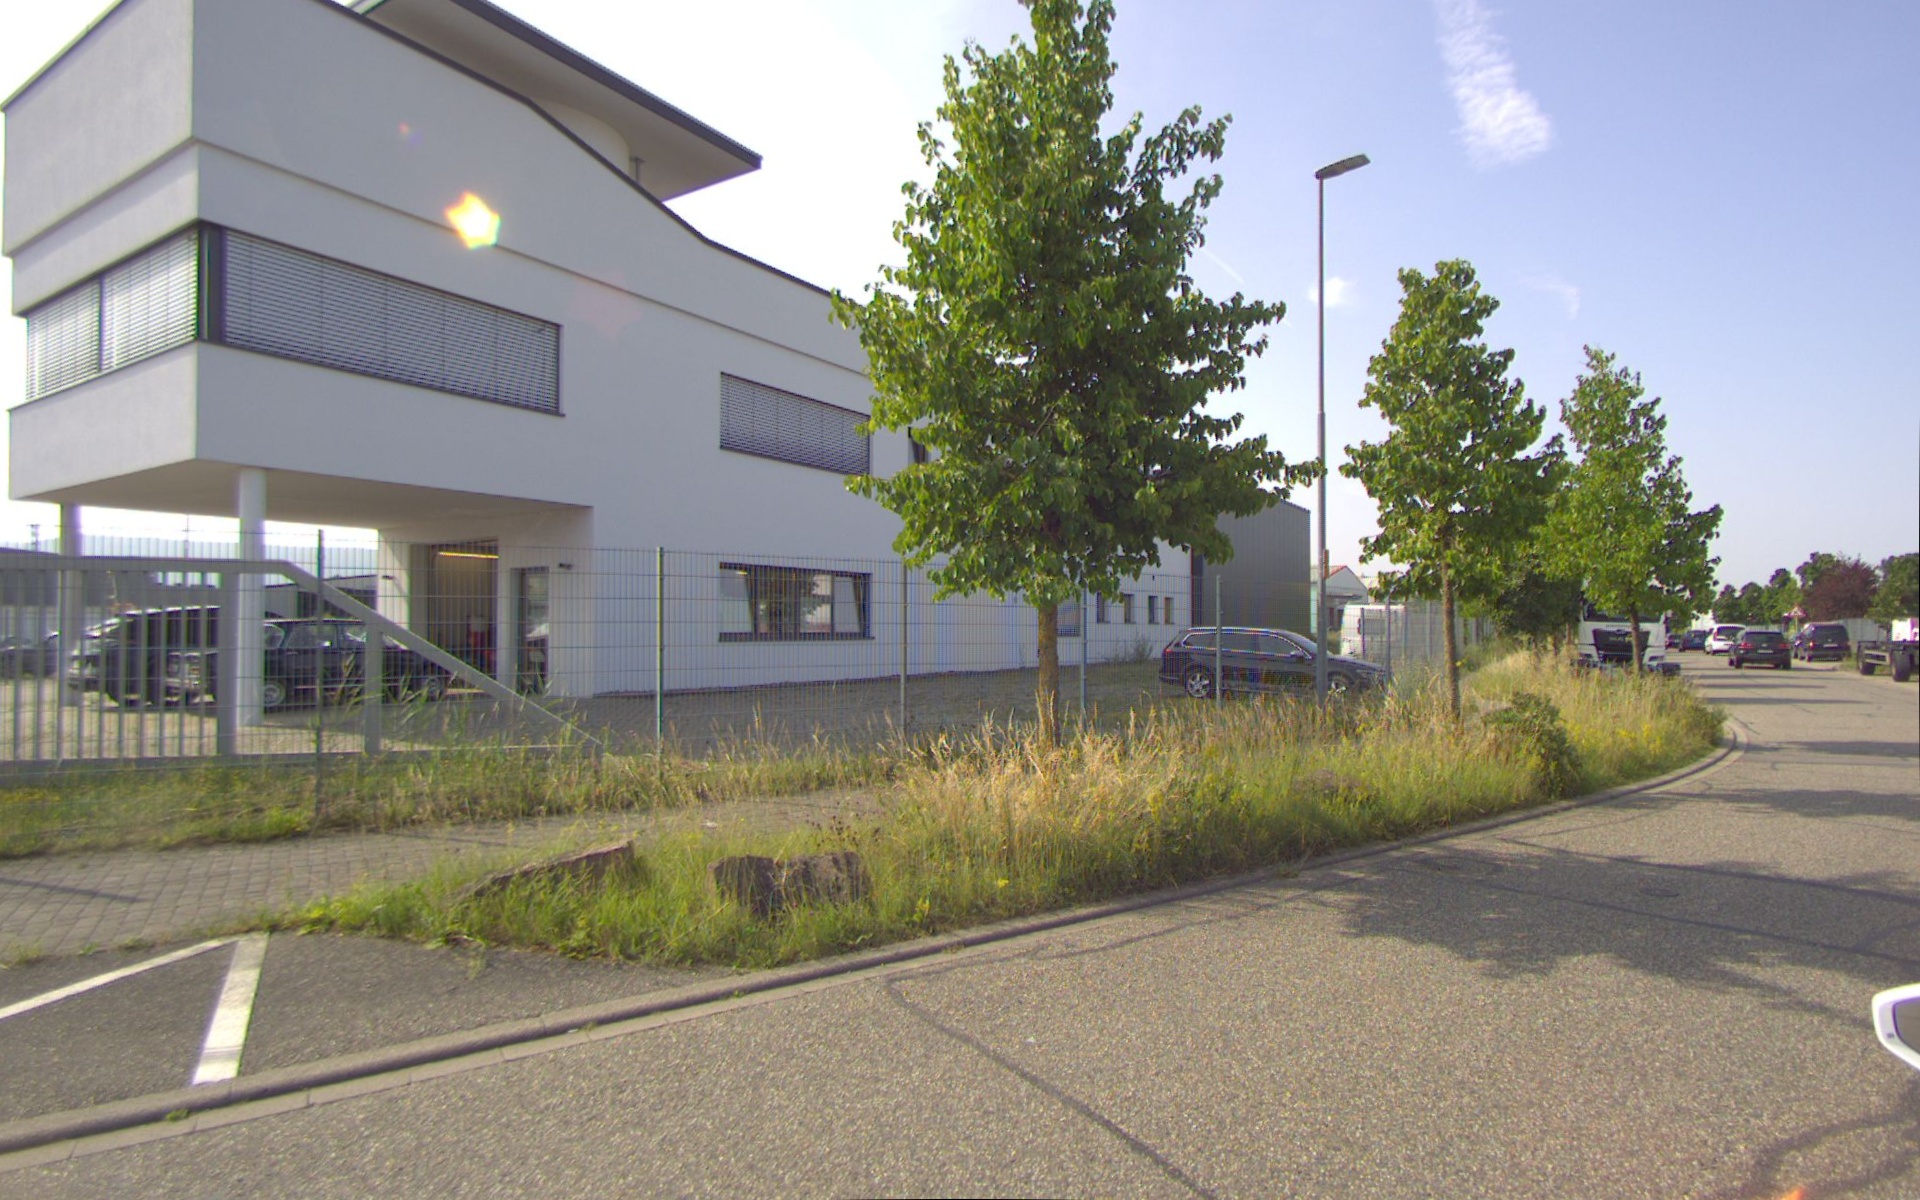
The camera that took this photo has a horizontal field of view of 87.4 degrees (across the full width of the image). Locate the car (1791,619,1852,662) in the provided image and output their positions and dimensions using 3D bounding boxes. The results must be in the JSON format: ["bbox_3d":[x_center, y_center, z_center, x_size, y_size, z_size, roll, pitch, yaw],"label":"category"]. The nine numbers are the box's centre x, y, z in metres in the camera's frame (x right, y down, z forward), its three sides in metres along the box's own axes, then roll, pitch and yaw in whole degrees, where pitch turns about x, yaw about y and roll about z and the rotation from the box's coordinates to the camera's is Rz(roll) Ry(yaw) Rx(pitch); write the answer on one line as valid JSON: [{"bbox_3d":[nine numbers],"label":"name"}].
[{"bbox_3d":[43.478,2.021,50.765,1.795,2.004,3.988,-5,-3,34],"label":"car"}]

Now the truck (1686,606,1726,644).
[{"bbox_3d":[76.546,2.581,103.220,2.849,3.633,8.037,-3,-2,34],"label":"truck"}]

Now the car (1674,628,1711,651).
[{"bbox_3d":[54.866,2.962,75.271,1.966,1.661,3.990,-1,-2,32],"label":"car"}]

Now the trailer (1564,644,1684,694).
[{"bbox_3d":[18.219,1.837,27.749,2.538,1.114,5.189,-1,-2,32],"label":"trailer"}]

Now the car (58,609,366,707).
[{"bbox_3d":[-13.008,0.954,17.713,1.837,1.507,3.989,-1,-2,33],"label":"car"}]

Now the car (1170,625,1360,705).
[{"bbox_3d":[6.212,1.269,20.509,3.442,1.473,1.593,0,-1,31],"label":"car"}]

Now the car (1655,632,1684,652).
[{"bbox_3d":[65.298,3.839,92.441,1.966,1.795,3.990,-1,-2,32],"label":"car"}]

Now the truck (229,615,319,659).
[{"bbox_3d":[-40.747,2.184,59.746,3.925,2.547,1.998,0,-2,-7],"label":"truck"}]

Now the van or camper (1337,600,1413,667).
[{"bbox_3d":[17.217,1.376,41.502,2.271,2.594,4.945,-1,-2,30],"label":"van or camper"}]

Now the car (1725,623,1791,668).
[{"bbox_3d":[35.165,1.955,44.343,1.967,1.829,3.988,0,-1,34],"label":"car"}]

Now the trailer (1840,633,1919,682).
[{"bbox_3d":[34.106,1.968,35.809,2.587,1.406,9.430,-4,-3,32],"label":"trailer"}]

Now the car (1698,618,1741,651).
[{"bbox_3d":[46.306,2.070,61.343,1.968,1.925,4.451,-1,-1,36],"label":"car"}]

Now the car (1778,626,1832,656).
[{"bbox_3d":[46.552,2.247,55.394,1.795,1.468,3.789,-5,-4,34],"label":"car"}]

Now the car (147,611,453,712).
[{"bbox_3d":[-10.617,0.930,16.436,1.537,1.434,3.911,-1,-2,33],"label":"car"}]

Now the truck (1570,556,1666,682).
[{"bbox_3d":[24.896,0.763,37.980,2.590,3.981,12.881,0,-2,34],"label":"truck"}]

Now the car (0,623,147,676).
[{"bbox_3d":[-31.033,1.671,34.472,4.381,1.750,1.984,0,-1,-16],"label":"car"}]
